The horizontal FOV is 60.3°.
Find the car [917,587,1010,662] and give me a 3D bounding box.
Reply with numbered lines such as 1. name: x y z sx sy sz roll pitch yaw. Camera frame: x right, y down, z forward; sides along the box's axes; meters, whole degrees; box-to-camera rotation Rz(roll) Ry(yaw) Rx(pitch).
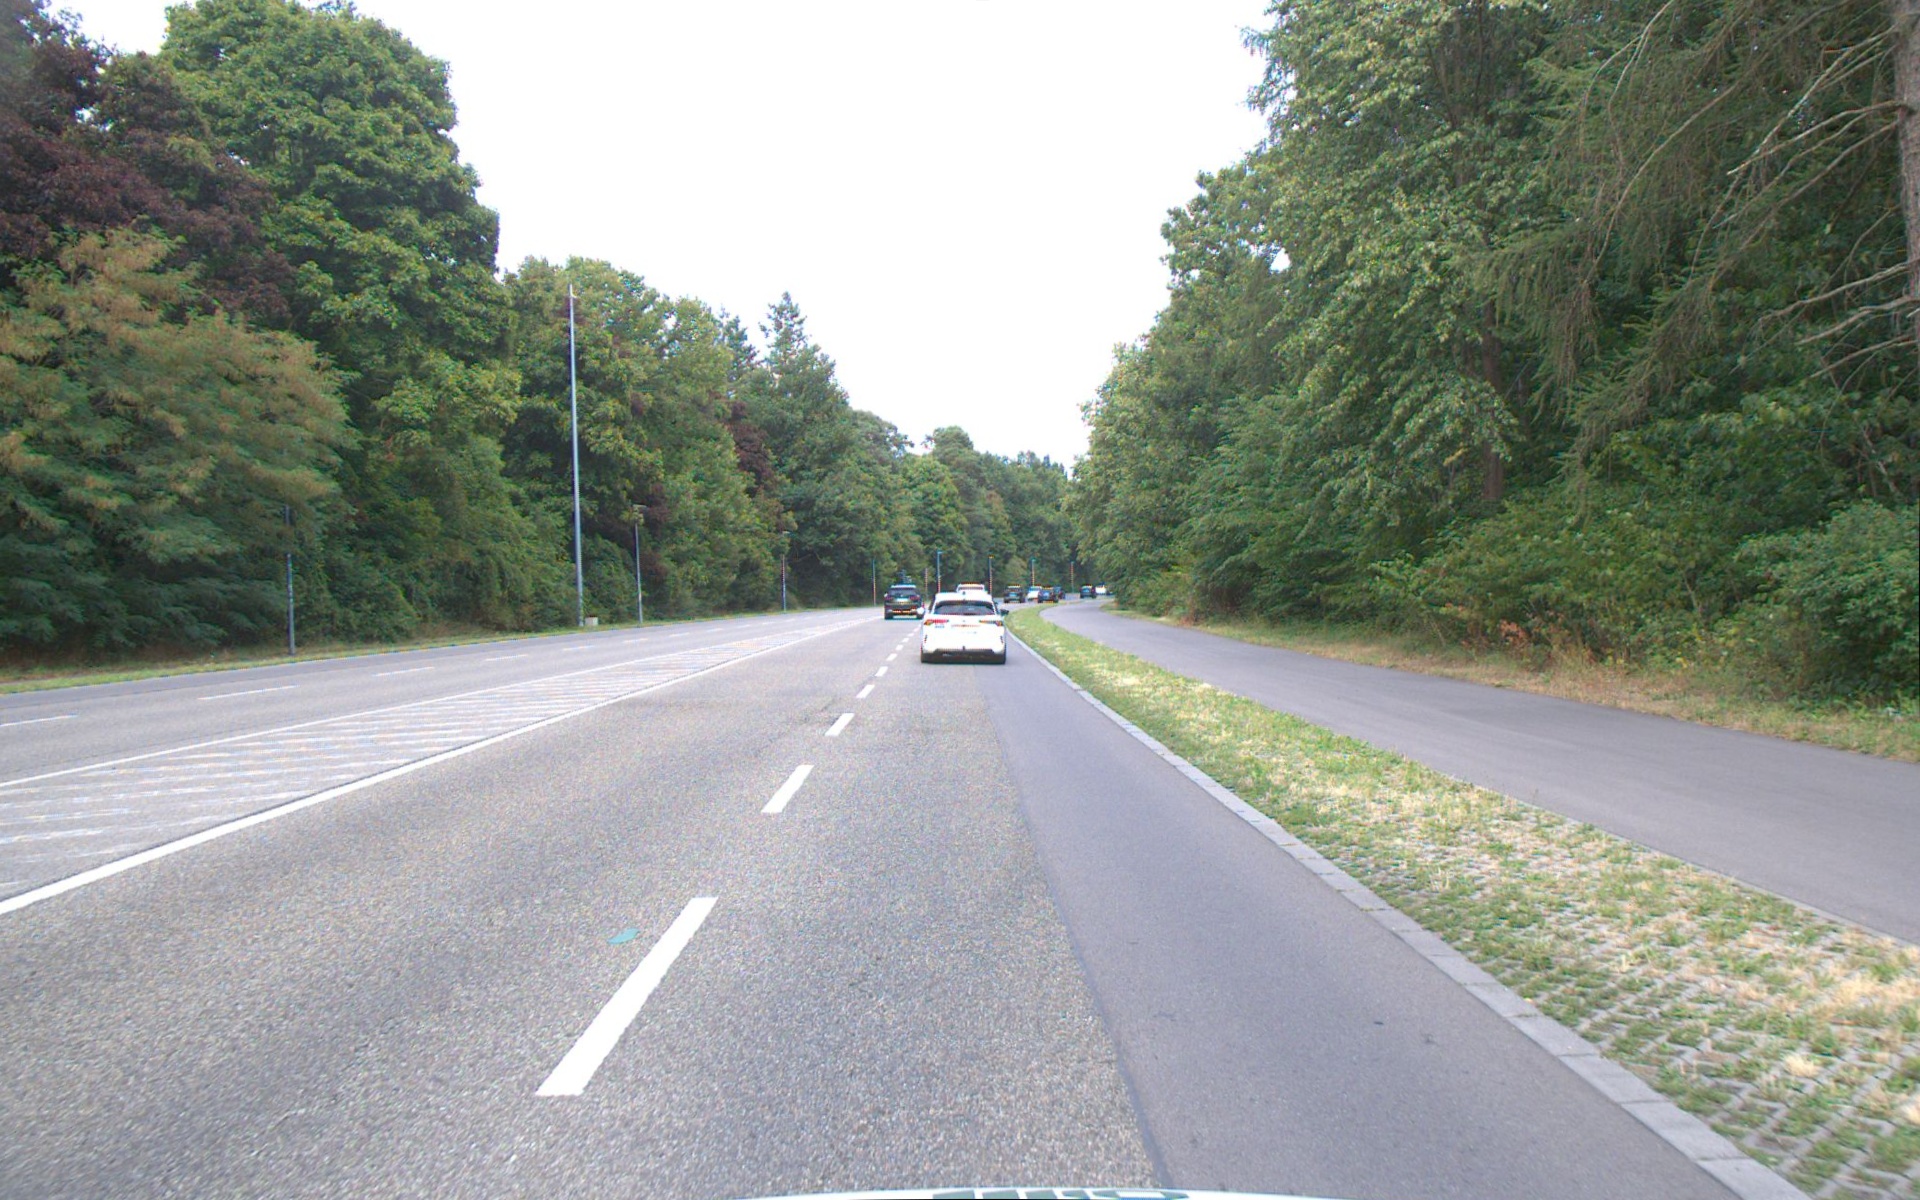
1. car: 0.011 0.492 34.847 1.799 1.435 4.489 2 0 -1

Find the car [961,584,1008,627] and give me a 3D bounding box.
1. car: 0.926 0.212 59.632 1.601 1.445 4.001 2 0 2

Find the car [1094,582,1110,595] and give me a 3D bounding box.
1. car: 21.158 -1.732 246.621 1.848 1.847 4.003 2 0 13

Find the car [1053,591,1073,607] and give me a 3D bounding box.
1. car: 12.449 -0.102 199.253 1.951 1.814 4.003 2 0 9

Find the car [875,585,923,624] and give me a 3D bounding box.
1. car: -2.932 0.228 80.276 1.952 1.818 4.001 2 0 2

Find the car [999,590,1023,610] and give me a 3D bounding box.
1. car: 4.975 -0.013 161.459 1.951 1.814 4.003 2 0 6

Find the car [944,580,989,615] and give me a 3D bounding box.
1. car: 0.359 -0.136 83.217 1.952 1.635 4.002 2 0 4

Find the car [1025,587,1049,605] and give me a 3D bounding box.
1. car: 8.397 -0.412 180.662 1.951 1.814 4.003 2 0 11

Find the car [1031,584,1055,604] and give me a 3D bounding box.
1. car: 8.158 -0.561 161.604 1.951 1.814 4.003 2 0 8

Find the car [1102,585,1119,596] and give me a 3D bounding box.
1. car: 21.172 -1.352 232.653 1.951 1.434 4.003 2 0 12

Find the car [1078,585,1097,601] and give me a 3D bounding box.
1. car: 15.943 -0.840 206.682 1.951 1.814 4.003 2 0 10
